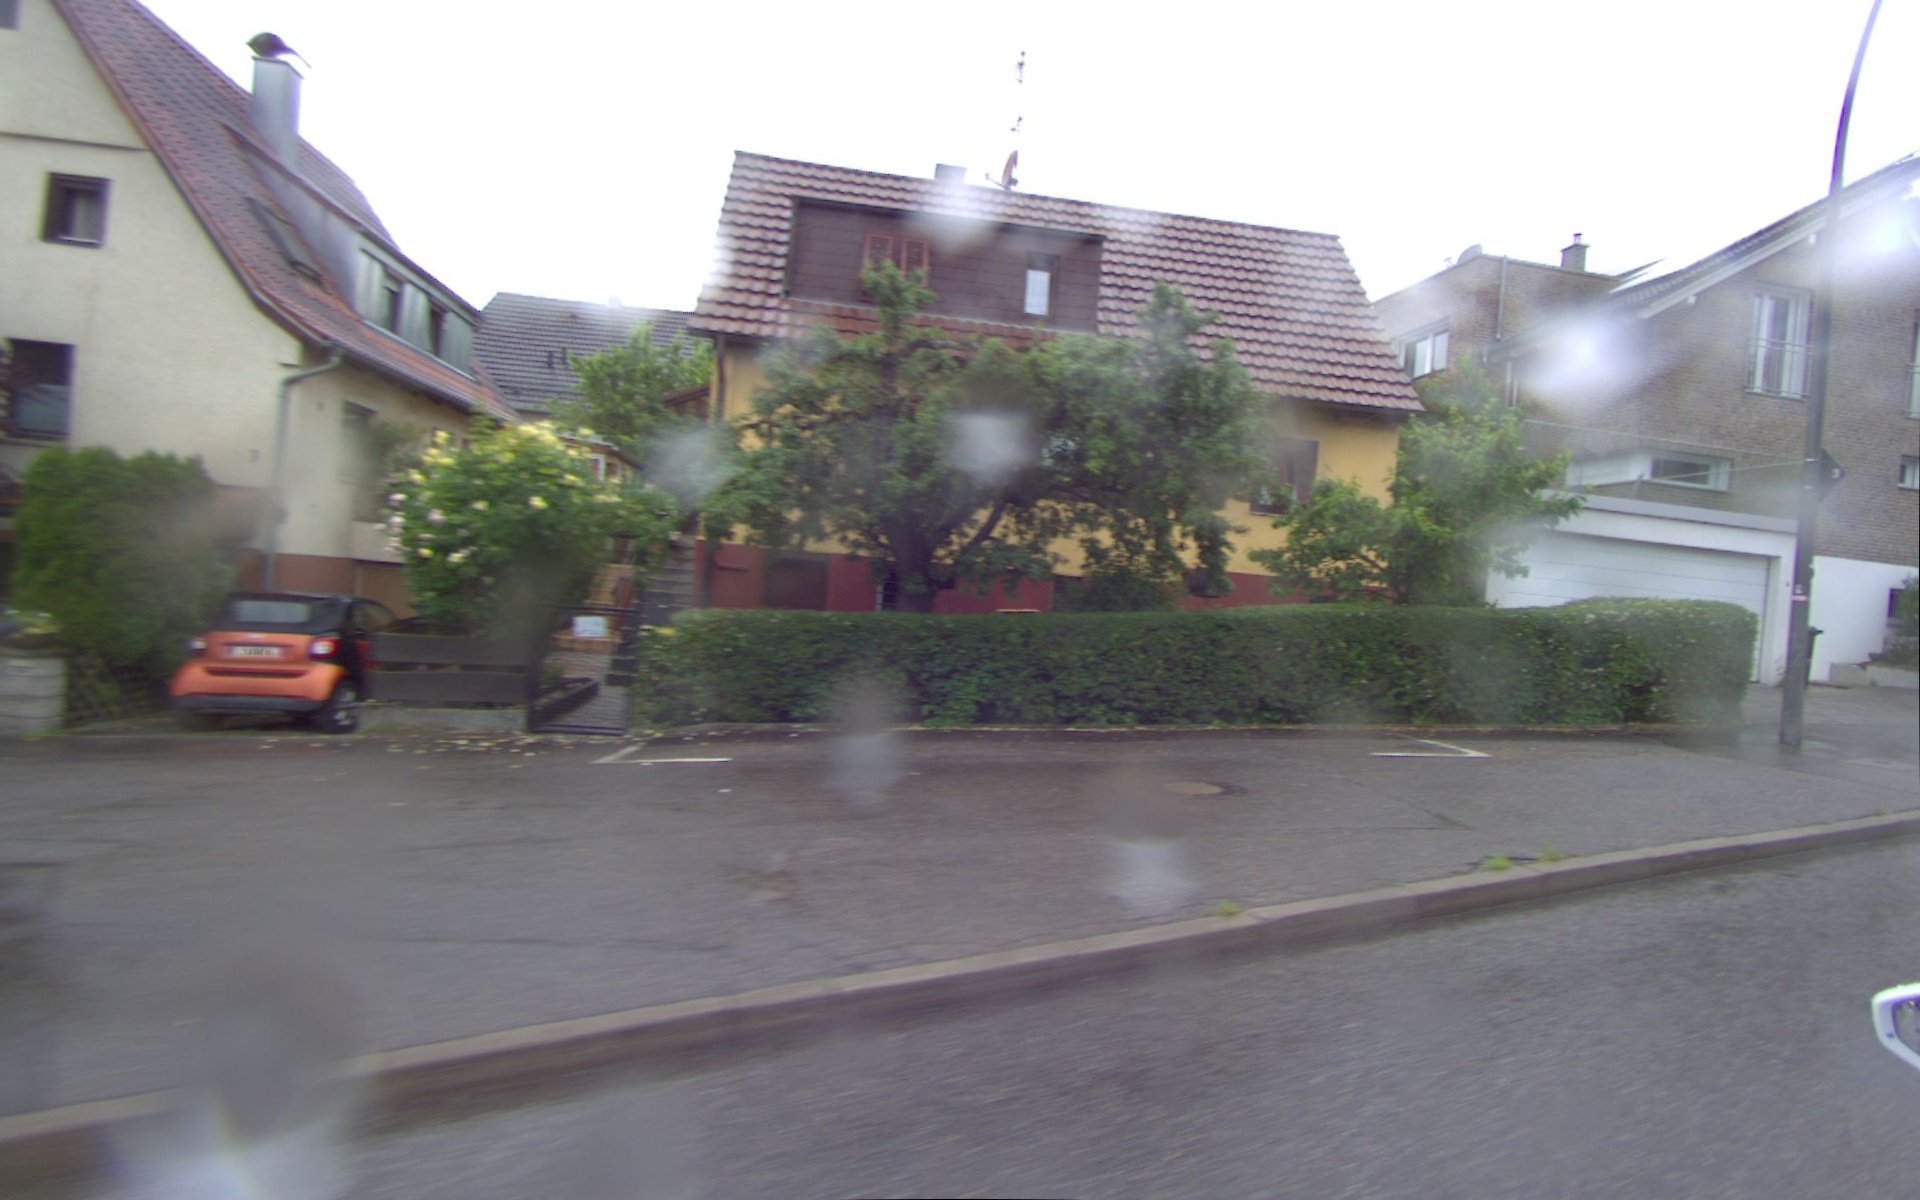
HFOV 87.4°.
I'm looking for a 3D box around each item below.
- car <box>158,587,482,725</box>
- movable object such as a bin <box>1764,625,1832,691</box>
[{"bbox_3d":[-7.573,0.566,12.420,1.829,1.402,3.994,2,1,-8],"label":"car"},{"bbox_3d":[14.443,0.998,17.328,0.699,1.089,0.561,2,0,-10],"label":"movable object such as a bin"}]
